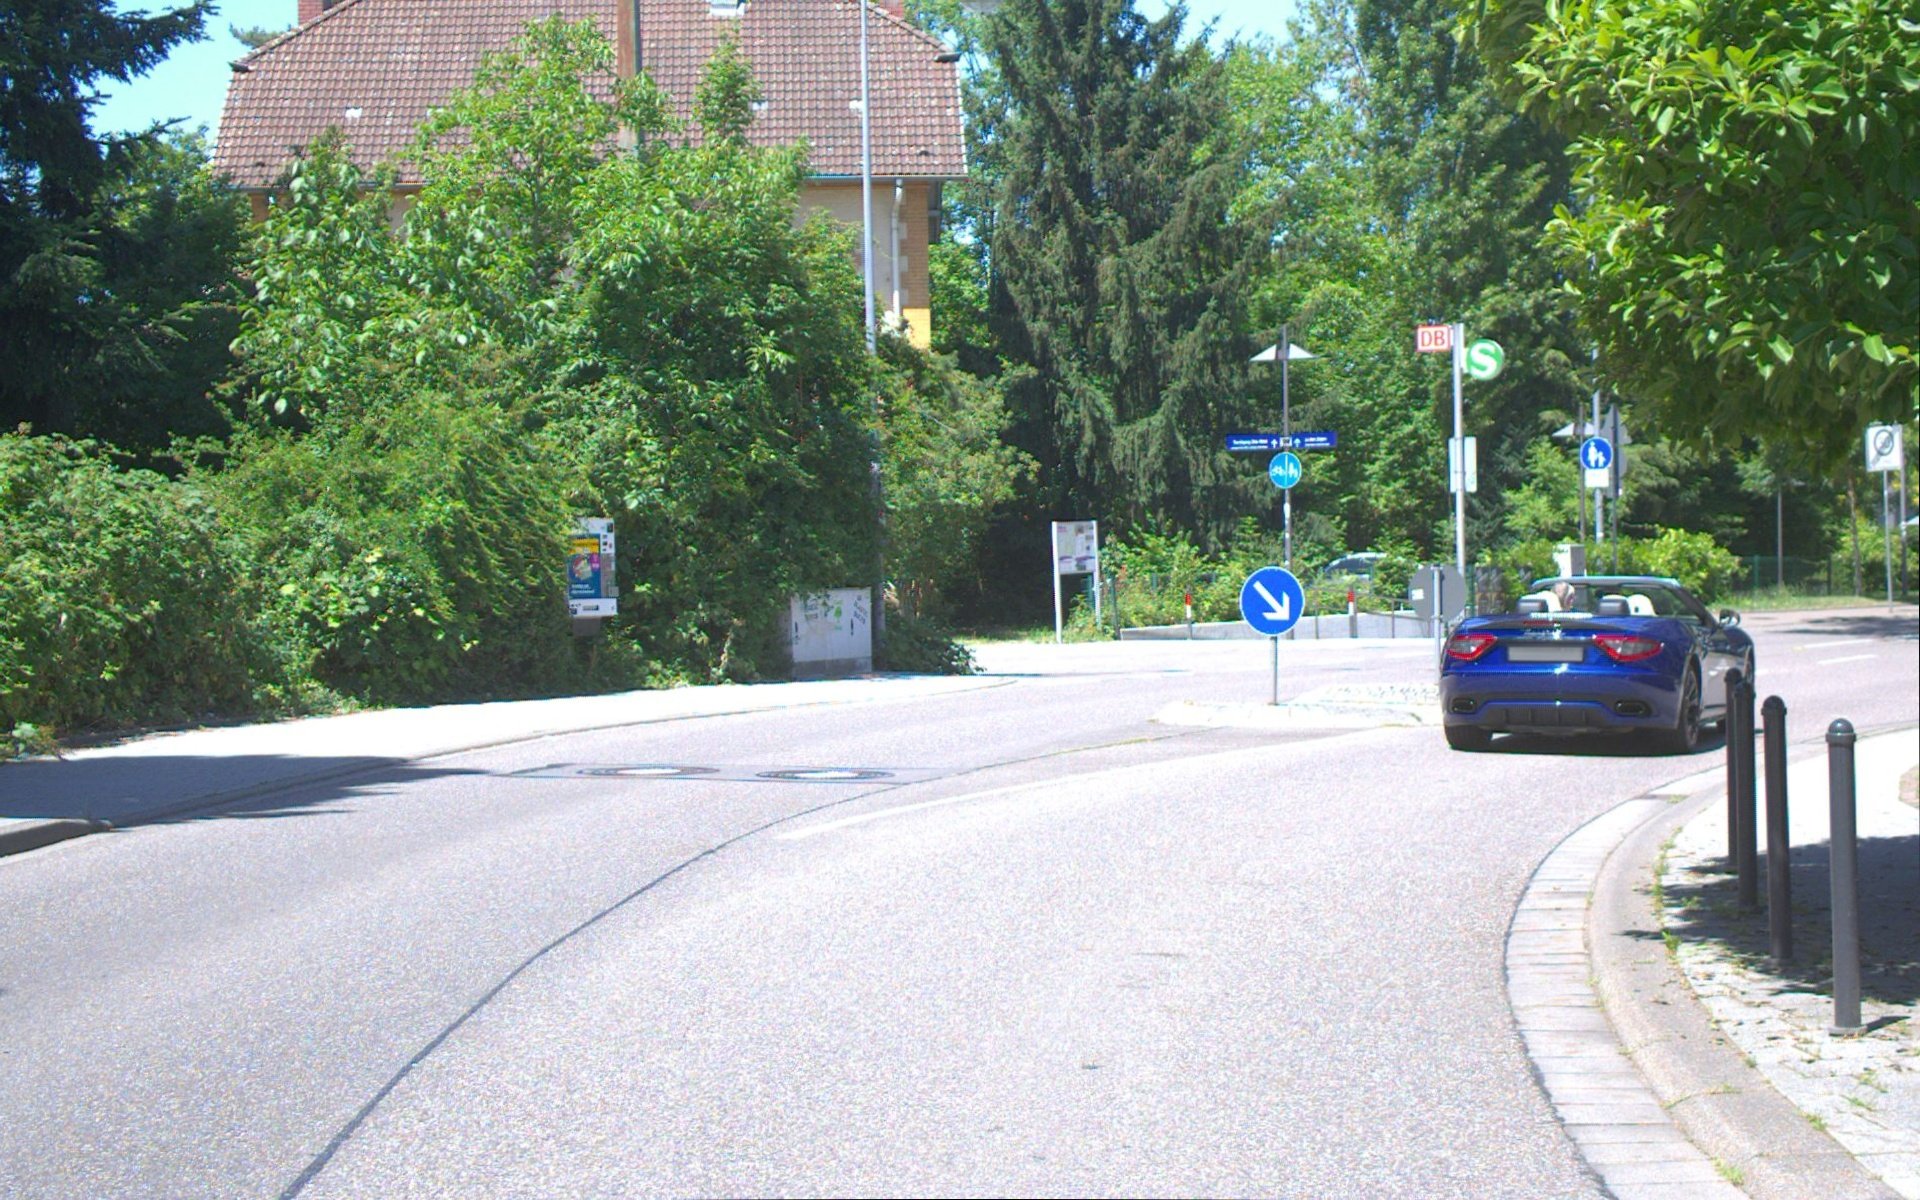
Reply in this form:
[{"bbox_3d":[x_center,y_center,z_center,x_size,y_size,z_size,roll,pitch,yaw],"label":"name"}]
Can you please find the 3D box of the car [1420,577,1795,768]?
[{"bbox_3d":[5.283,0.510,27.542,1.829,1.332,4.694,2,1,25],"label":"car"}]
